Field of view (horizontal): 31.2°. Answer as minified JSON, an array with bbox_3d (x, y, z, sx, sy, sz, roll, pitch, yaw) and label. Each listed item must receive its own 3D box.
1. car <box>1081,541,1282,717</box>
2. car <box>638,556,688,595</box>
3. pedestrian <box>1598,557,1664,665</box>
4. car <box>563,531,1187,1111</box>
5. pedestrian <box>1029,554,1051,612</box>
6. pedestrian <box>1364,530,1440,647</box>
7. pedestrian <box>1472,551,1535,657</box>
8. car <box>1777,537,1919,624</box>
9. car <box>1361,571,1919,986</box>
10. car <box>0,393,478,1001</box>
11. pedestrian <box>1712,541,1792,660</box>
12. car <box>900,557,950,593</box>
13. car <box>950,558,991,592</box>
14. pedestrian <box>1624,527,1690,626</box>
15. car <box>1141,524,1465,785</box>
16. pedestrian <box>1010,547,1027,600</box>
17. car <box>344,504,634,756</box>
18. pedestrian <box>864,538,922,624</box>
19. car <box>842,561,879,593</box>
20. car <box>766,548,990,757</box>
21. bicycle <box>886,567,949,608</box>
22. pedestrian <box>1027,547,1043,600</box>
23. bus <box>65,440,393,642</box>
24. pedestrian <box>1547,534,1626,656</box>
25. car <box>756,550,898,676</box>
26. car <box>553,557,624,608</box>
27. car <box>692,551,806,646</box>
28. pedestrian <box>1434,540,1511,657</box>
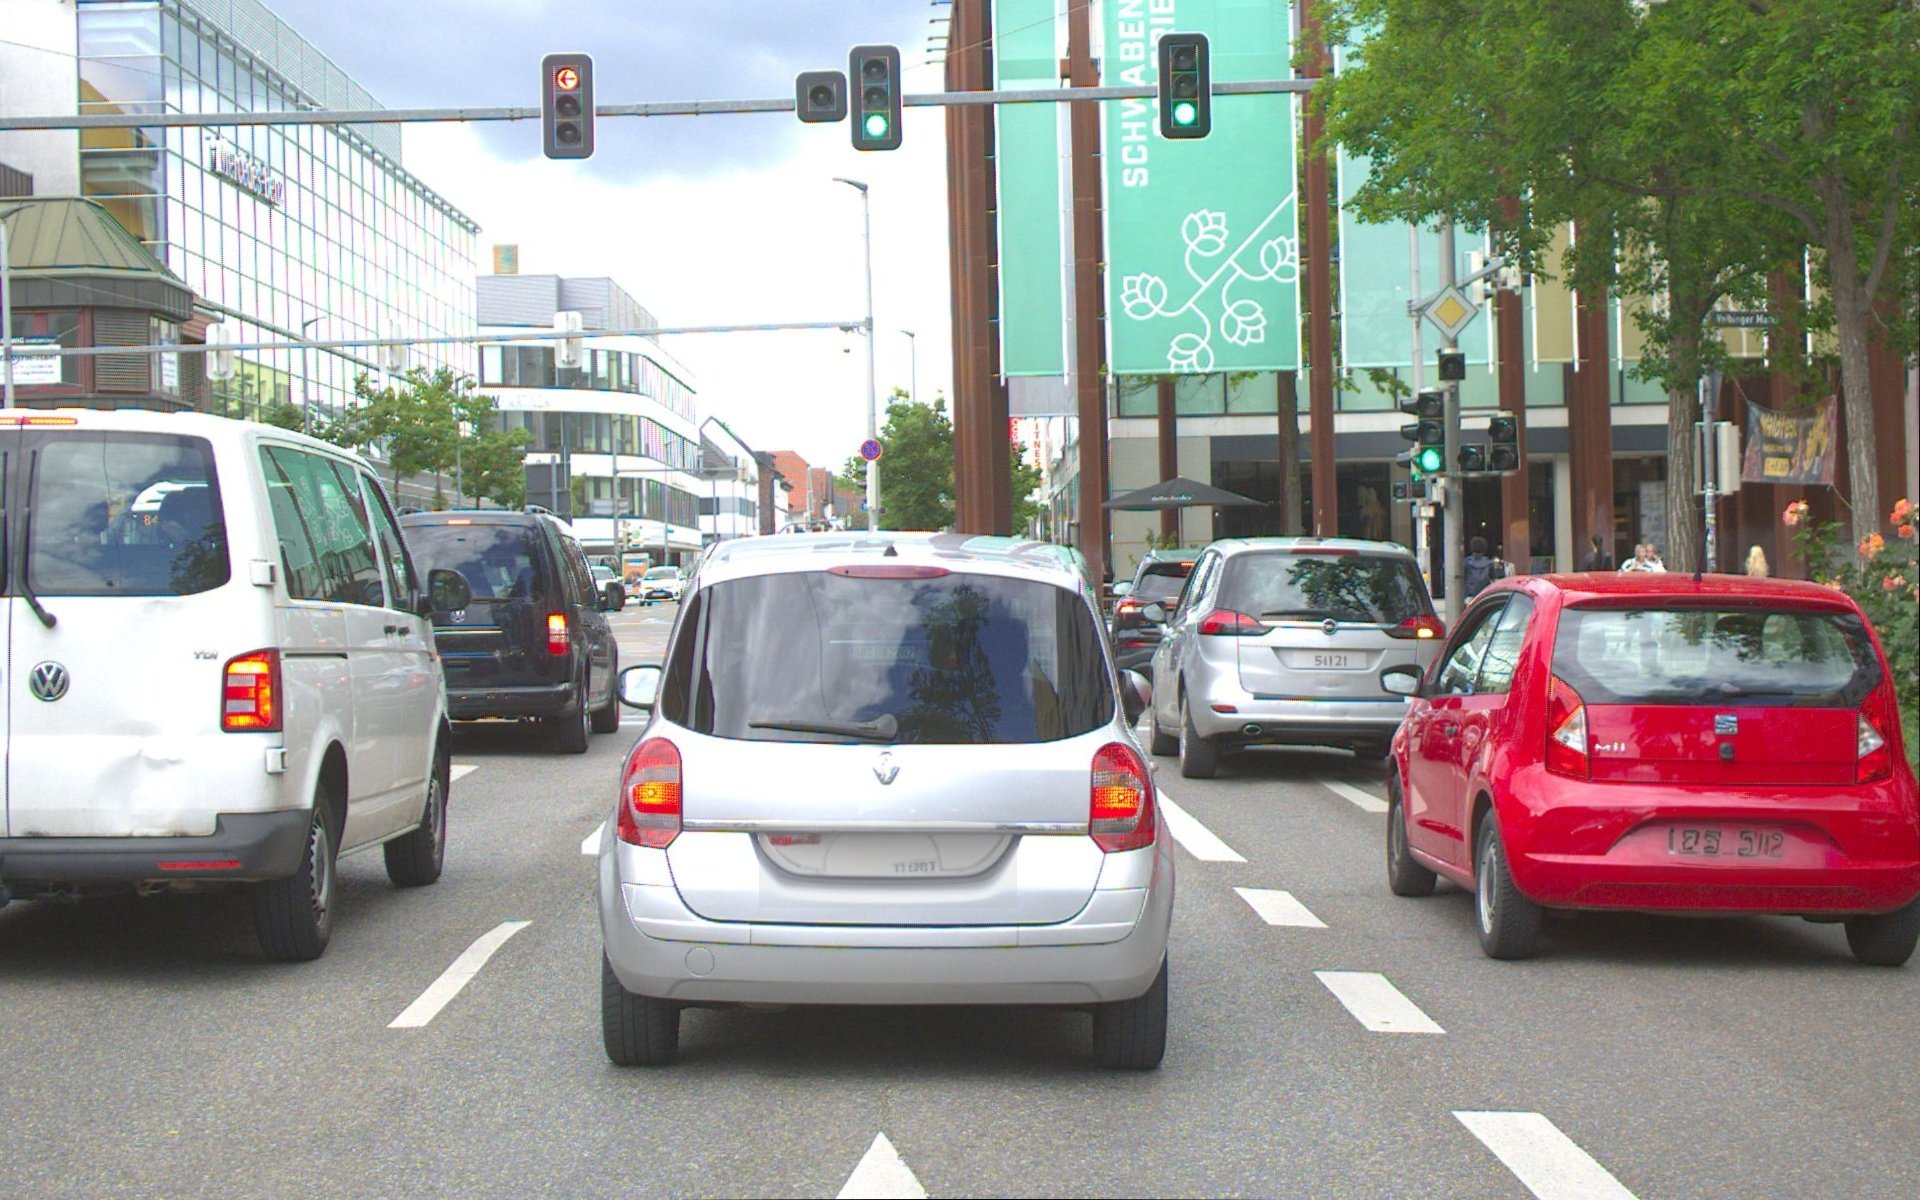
[{"bbox_3d":[2.246,0.254,35.928,1.739,1.695,4.381,1,1,-1],"label":"car"},{"bbox_3d":[-11.851,-1.000,137.338,1.660,1.460,4.000,-2,1,0],"label":"car"},{"bbox_3d":[10.284,0.157,52.707,0.741,1.620,0.954,-1,1,-4],"label":"pedestrian"},{"bbox_3d":[-0.251,0.576,11.155,1.669,1.549,3.642,1,1,-1],"label":"car"},{"bbox_3d":[1.728,-0.367,73.915,0.447,1.216,0.606,-1,1,2],"label":"pedestrian"},{"bbox_3d":[6.452,-0.173,50.259,0.878,1.675,1.120,-1,1,-3],"label":"pedestrian"},{"bbox_3d":[8.500,0.052,53.772,0.741,1.620,0.954,-1,1,-4],"label":"pedestrian"},{"bbox_3d":[15.808,-0.334,56.777,4.172,1.399,1.801,0,1,-3],"label":"car"},{"bbox_3d":[2.707,0.625,14.128,1.626,1.443,3.642,1,1,-1],"label":"car"},{"bbox_3d":[-3.255,0.285,13.814,1.993,2.007,4.840,1,1,-1],"label":"car"},{"bbox_3d":[11.977,-0.003,52.016,0.878,1.761,1.120,-1,1,-3],"label":"pedestrian"},{"bbox_3d":[-1.337,-0.968,131.817,1.877,1.330,4.000,1,1,0],"label":"car"},{"bbox_3d":[0.487,-1.170,160.268,1.877,1.559,4.000,1,1,0],"label":"car"},{"bbox_3d":[11.333,-0.386,55.941,0.821,1.589,1.039,-1,1,-2],"label":"pedestrian"},{"bbox_3d":[2.378,0.331,24.858,1.739,1.695,4.381,1,1,-2],"label":"car"},{"bbox_3d":[1.713,-0.780,100.599,0.427,1.544,0.481,-1,1,-2],"label":"pedestrian"},{"bbox_3d":[-3.654,0.186,27.381,1.707,1.814,4.572,1,1,-1],"label":"car"},{"bbox_3d":[-1.282,-0.367,65.952,0.871,1.641,0.679,0,1,34],"label":"pedestrian"},{"bbox_3d":[-4.819,-1.104,166.344,1.660,1.460,4.000,-2,1,0],"label":"car"},{"bbox_3d":[-0.640,0.373,27.766,1.669,1.549,3.642,1,1,-1],"label":"car"},{"bbox_3d":[-1.078,-0.320,87.534,1.561,0.989,0.752,-1,1,3],"label":"bicycle"},{"bbox_3d":[2.196,-0.772,100.638,0.427,1.544,0.481,-1,1,-2],"label":"pedestrian"},{"bbox_3d":[-13.686,-1.139,65.698,2.987,3.316,12.305,-3,1,2],"label":"bus"},{"bbox_3d":[9.236,-0.086,50.705,0.878,1.761,1.120,-1,1,-3],"label":"pedestrian"},{"bbox_3d":[-1.633,0.132,43.209,1.669,1.490,3.642,1,1,-1],"label":"car"},{"bbox_3d":[-11.382,-0.542,105.624,1.744,1.454,4.235,-2,1,-1],"label":"car"},{"bbox_3d":[-3.441,-0.044,56.509,1.669,1.490,3.642,1,1,-1],"label":"car"},{"bbox_3d":[7.486,-0.030,50.265,0.878,1.675,1.120,-1,1,-3],"label":"pedestrian"}]
